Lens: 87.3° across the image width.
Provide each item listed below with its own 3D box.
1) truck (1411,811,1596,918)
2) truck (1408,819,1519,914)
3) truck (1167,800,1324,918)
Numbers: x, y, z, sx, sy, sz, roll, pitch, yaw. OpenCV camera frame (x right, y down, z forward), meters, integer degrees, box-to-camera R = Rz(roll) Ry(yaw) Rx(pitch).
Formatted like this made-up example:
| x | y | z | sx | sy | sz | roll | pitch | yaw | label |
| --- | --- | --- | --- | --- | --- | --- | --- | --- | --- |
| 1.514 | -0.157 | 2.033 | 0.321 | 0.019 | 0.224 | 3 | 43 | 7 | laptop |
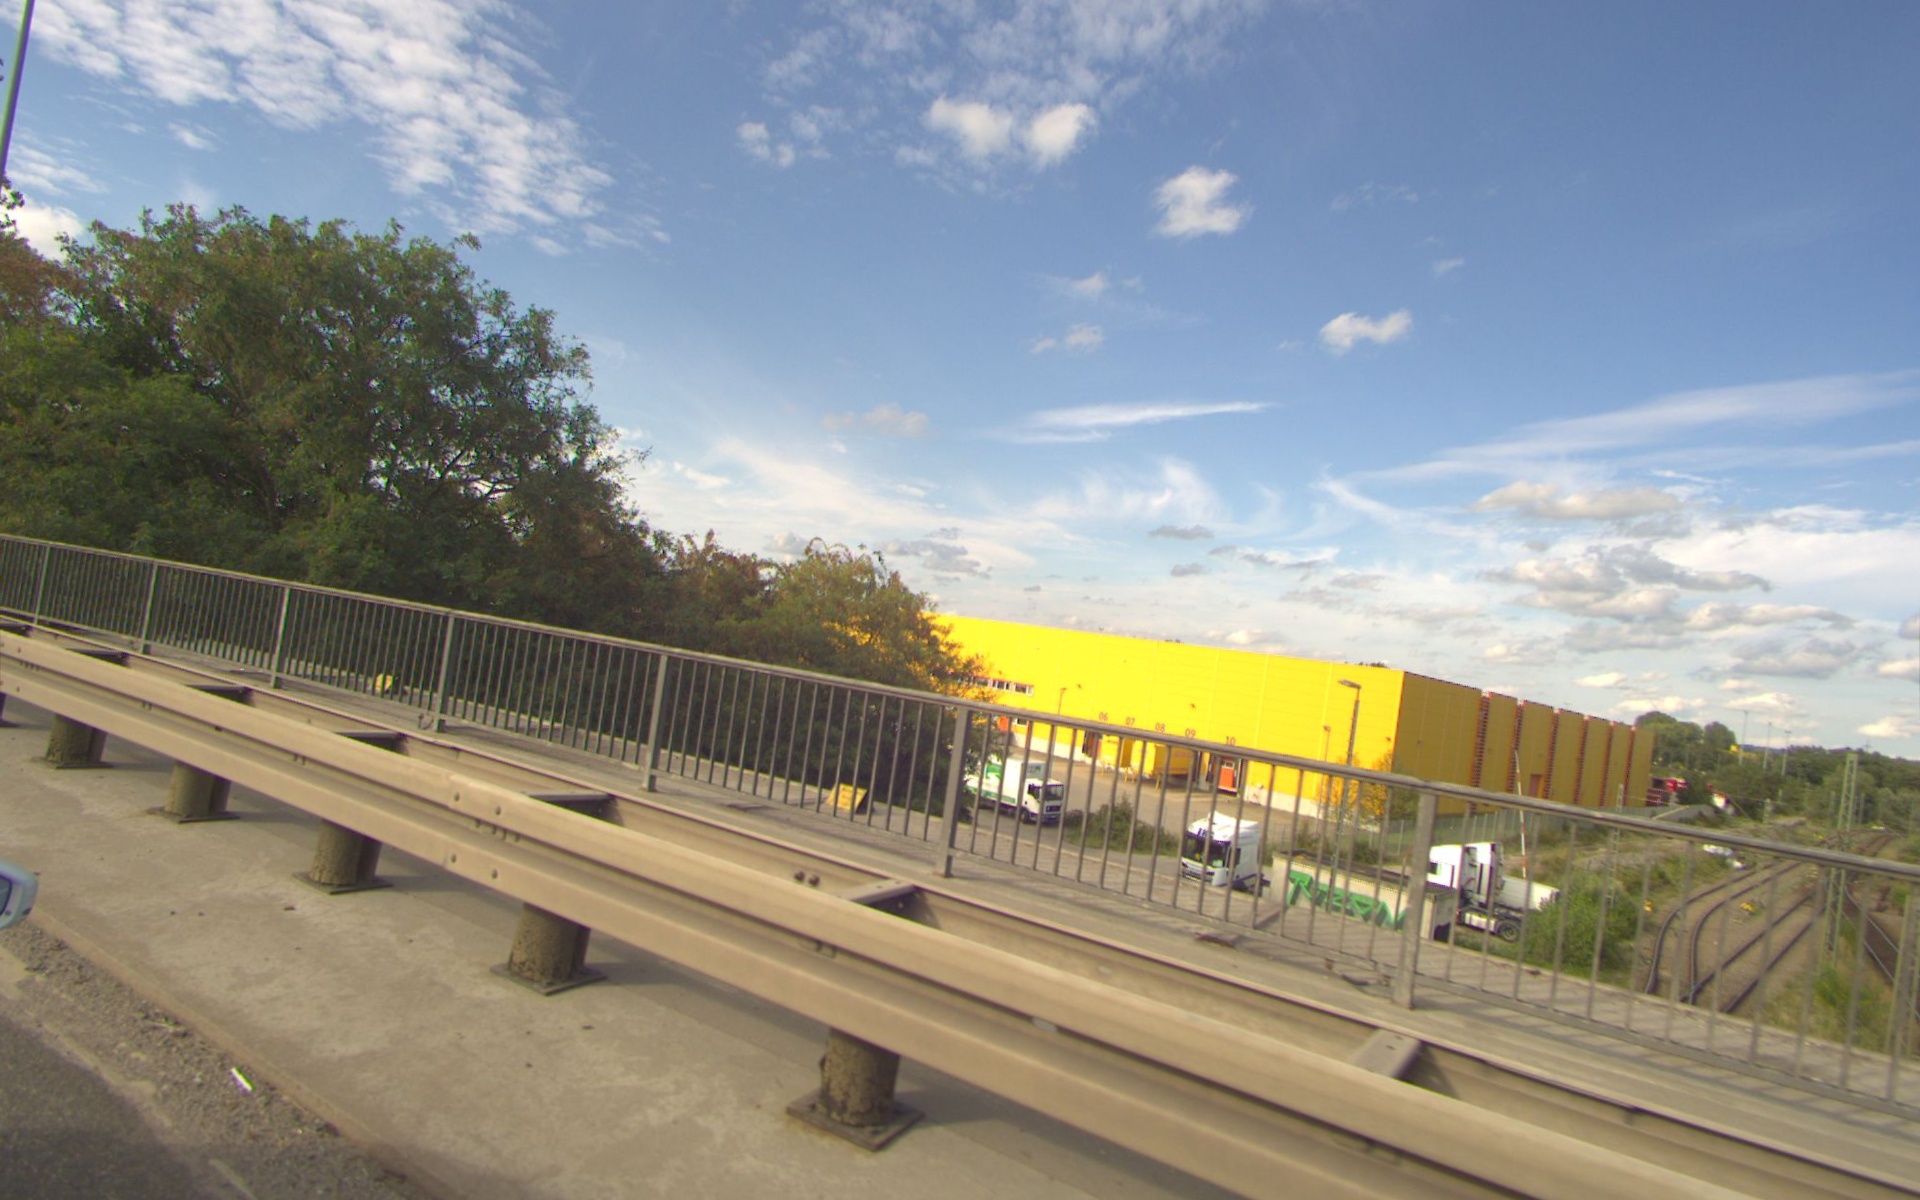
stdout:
| x | y | z | sx | sy | sz | roll | pitch | yaw | label |
| --- | --- | --- | --- | --- | --- | --- | --- | --- | --- |
| 30.123 | 14.583 | 56.114 | 8.501 | 3.422 | 2.027 | 8 | 1 | 43 | truck |
| 26.452 | 13.818 | 52.722 | 7.191 | 3.662 | 2.632 | 8 | 0 | -44 | truck |
| 13.352 | 11.743 | 46.504 | 8.569 | 4.141 | 2.632 | 8 | 0 | -44 | truck |
